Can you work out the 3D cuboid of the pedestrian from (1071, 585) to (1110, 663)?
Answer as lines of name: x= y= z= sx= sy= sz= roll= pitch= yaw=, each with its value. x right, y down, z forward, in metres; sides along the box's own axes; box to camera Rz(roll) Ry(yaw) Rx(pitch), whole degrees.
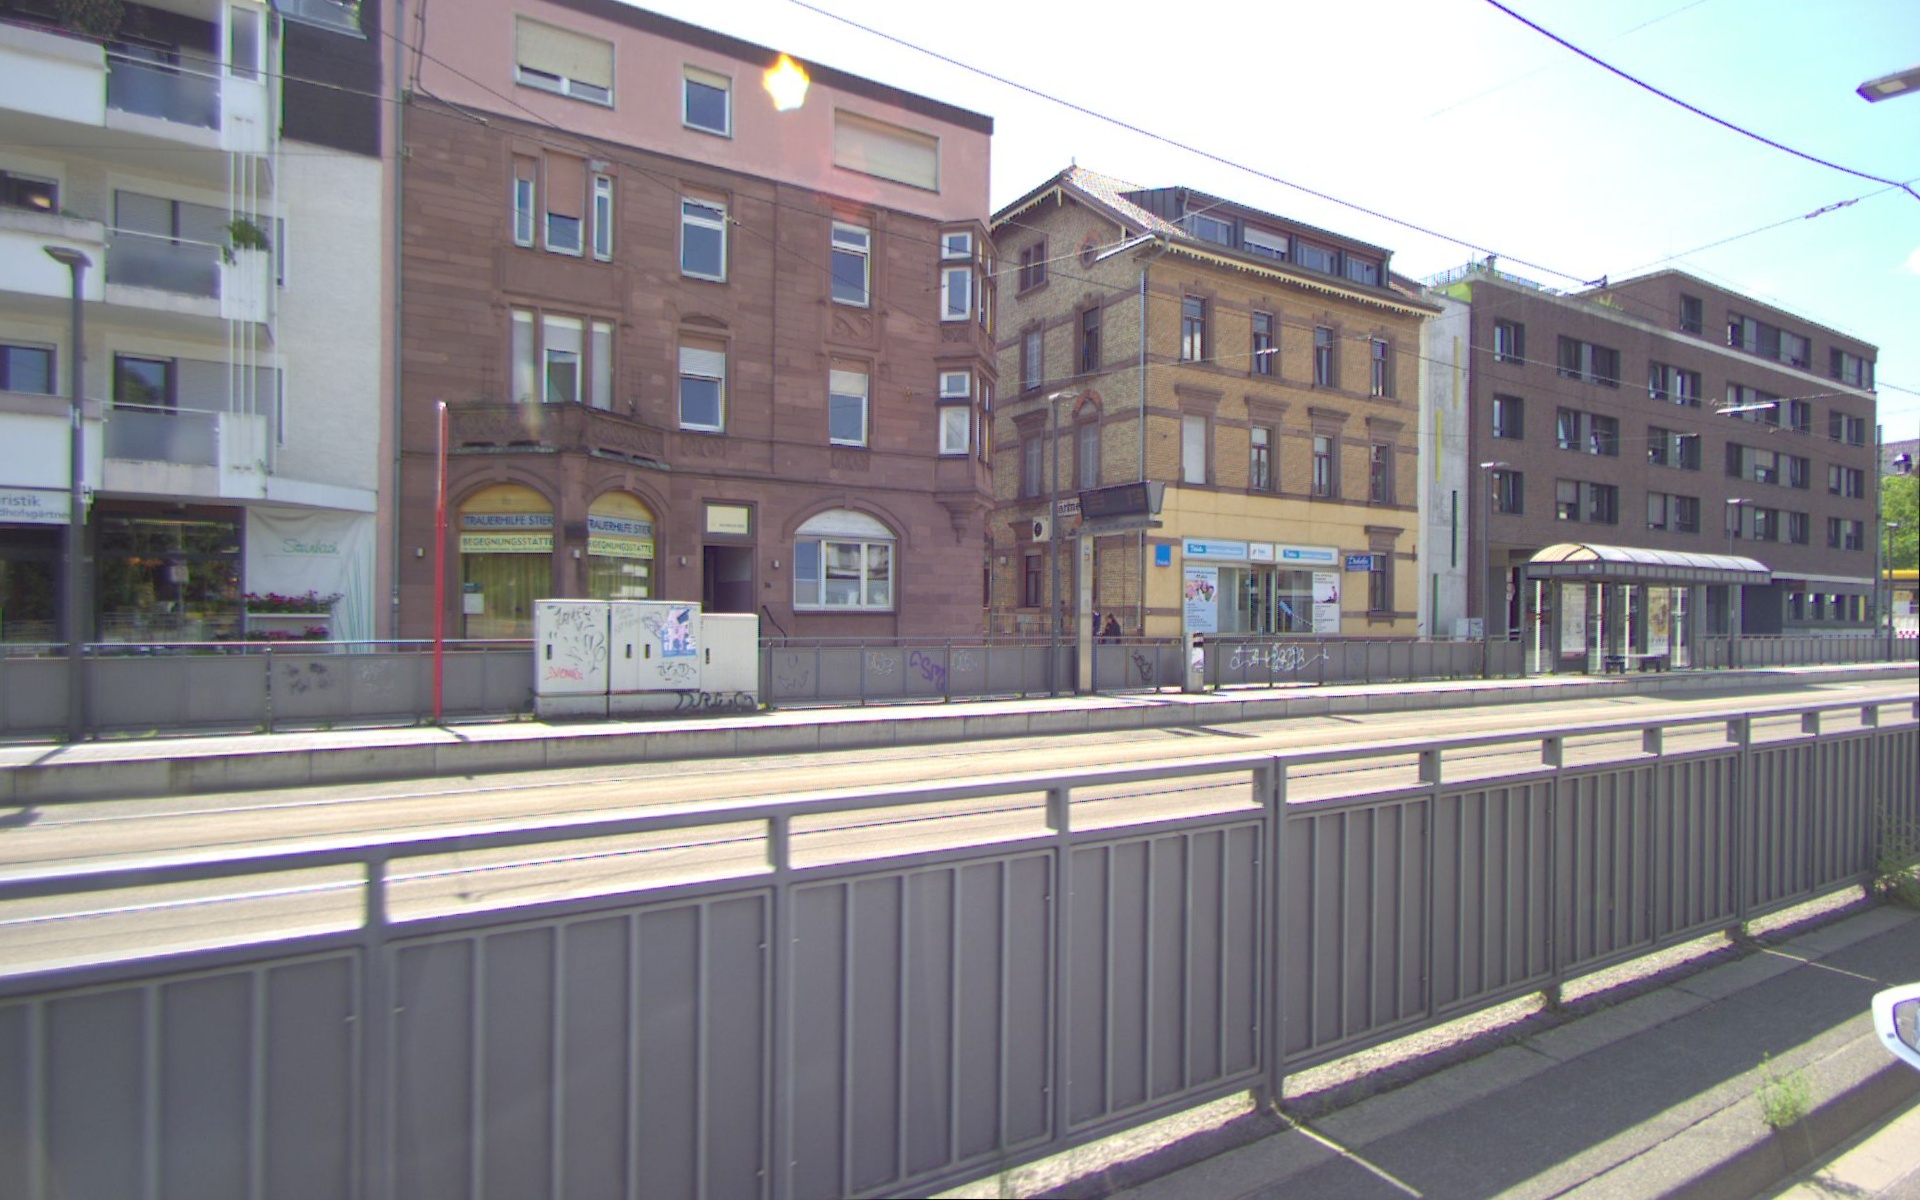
pedestrian: x=3.472 y=0.643 z=26.698 sx=0.801 sy=2.040 sz=0.614 roll=1 pitch=-1 yaw=-33

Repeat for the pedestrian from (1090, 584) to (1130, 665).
pedestrian: x=3.857 y=0.627 z=25.859 sx=0.677 sy=2.040 sz=0.673 roll=2 pitch=0 yaw=-33
